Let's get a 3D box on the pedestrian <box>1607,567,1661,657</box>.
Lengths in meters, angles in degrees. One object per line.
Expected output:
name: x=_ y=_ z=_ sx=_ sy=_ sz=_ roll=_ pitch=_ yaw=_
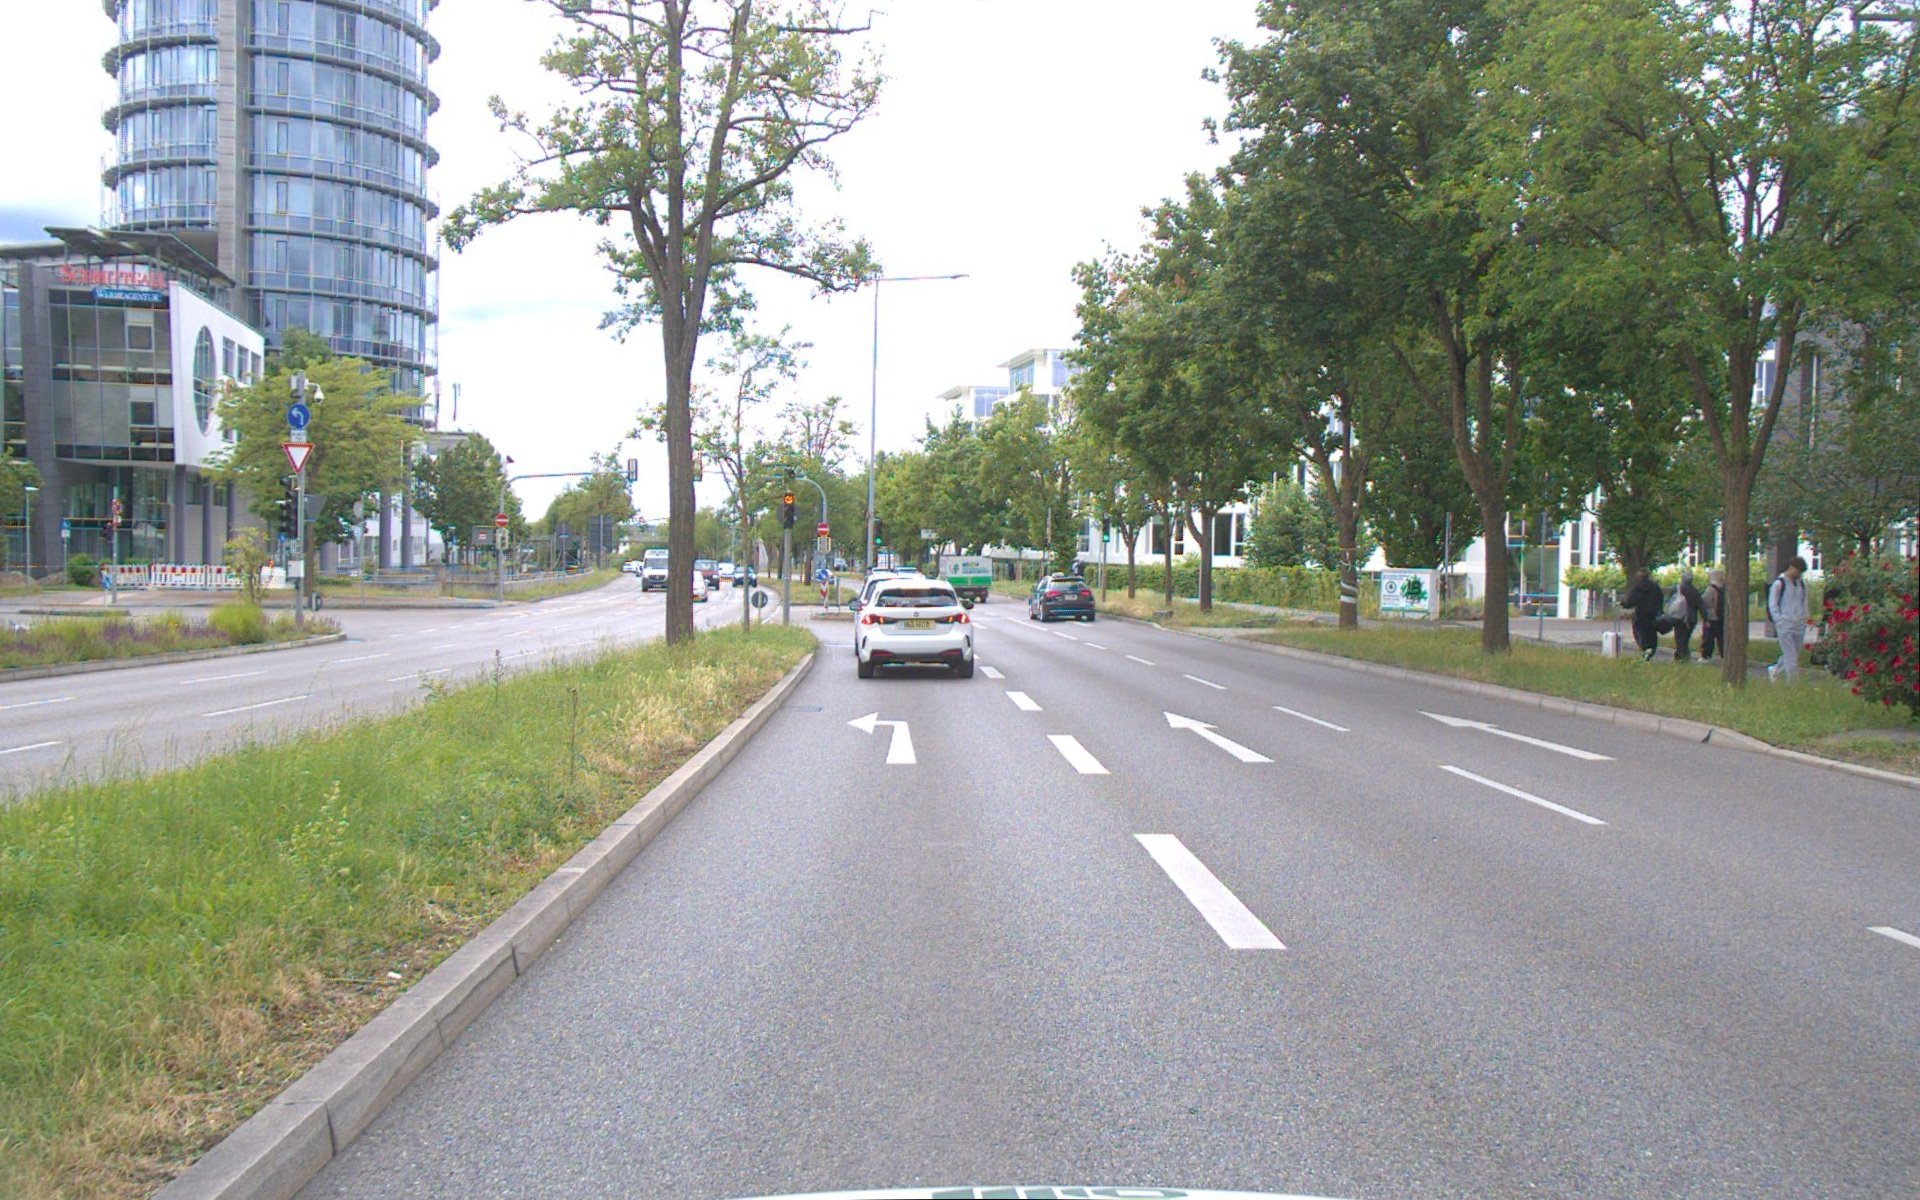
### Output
pedestrian: x=11.918 y=0.203 z=29.277 sx=0.710 sy=1.579 sz=0.587 roll=1 pitch=0 yaw=3

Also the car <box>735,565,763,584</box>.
car: x=-15.622 y=-1.894 z=122.408 sx=1.718 sy=1.395 sz=3.778 roll=0 pitch=1 yaw=-2

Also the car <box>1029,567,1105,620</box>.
car: x=3.398 y=-0.228 z=53.266 sx=1.954 sy=1.624 sz=3.998 roll=1 pitch=1 yaw=-3

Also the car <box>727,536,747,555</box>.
car: x=-25.711 y=-6.327 z=190.970 sx=1.955 sy=2.045 sz=4.320 roll=2 pitch=1 yaw=-5

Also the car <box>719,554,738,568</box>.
car: x=-29.149 y=-4.858 z=208.548 sx=1.954 sy=1.646 sz=3.998 roll=2 pitch=1 yaw=-2

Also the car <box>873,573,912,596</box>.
car: x=-4.709 y=-1.071 z=115.198 sx=1.960 sy=1.534 sz=3.986 roll=0 pitch=1 yaw=-14

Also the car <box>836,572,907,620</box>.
car: x=-2.923 y=-0.147 z=55.366 sx=1.952 sy=1.534 sz=4.002 roll=1 pitch=0 yaw=3

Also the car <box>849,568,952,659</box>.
car: x=-1.178 y=0.245 z=33.523 sx=1.953 sy=1.701 sz=3.999 roll=1 pitch=0 yaw=-2

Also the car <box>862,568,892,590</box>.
car: x=-5.944 y=-1.521 z=117.999 sx=1.954 sy=1.516 sz=3.996 roll=1 pitch=1 yaw=-5

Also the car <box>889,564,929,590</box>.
car: x=-3.152 y=-1.407 z=101.220 sx=1.957 sy=1.534 sz=3.992 roll=0 pitch=1 yaw=-9

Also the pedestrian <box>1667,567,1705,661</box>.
pedestrian: x=12.357 y=0.239 z=28.160 sx=0.400 sy=1.579 sz=0.562 roll=1 pitch=0 yaw=3

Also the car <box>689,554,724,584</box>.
car: x=-17.168 y=-2.083 z=112.361 sx=1.897 sy=1.951 sz=4.970 roll=0 pitch=1 yaw=-3

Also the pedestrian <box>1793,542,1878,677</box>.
pedestrian: x=12.096 y=0.110 z=22.869 sx=0.596 sy=1.806 sz=0.954 roll=1 pitch=3 yaw=-2

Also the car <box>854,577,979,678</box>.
car: x=-0.637 y=0.389 z=26.301 sx=1.825 sy=1.474 sz=4.000 roll=1 pitch=0 yaw=0

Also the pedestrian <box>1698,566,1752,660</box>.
pedestrian: x=13.048 y=0.215 z=28.234 sx=0.577 sy=1.579 sz=0.744 roll=1 pitch=1 yaw=3

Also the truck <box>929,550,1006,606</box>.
truck: x=0.290 y=-1.050 z=80.704 sx=2.806 sy=2.563 sz=6.275 roll=1 pitch=0 yaw=-9

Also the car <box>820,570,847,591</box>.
car: x=-9.599 y=-1.458 z=125.182 sx=1.954 sy=1.516 sz=3.996 roll=1 pitch=1 yaw=-5

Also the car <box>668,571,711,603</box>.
car: x=-13.118 y=-0.658 z=80.302 sx=1.719 sy=1.469 sz=4.131 roll=2 pitch=1 yaw=-5

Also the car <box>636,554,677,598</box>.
car: x=-19.523 y=-1.550 z=106.474 sx=1.955 sy=2.679 sz=5.869 roll=2 pitch=1 yaw=-5

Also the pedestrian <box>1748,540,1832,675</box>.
pedestrian: x=11.426 y=0.084 z=22.799 sx=0.596 sy=1.806 sz=0.954 roll=1 pitch=3 yaw=-2
